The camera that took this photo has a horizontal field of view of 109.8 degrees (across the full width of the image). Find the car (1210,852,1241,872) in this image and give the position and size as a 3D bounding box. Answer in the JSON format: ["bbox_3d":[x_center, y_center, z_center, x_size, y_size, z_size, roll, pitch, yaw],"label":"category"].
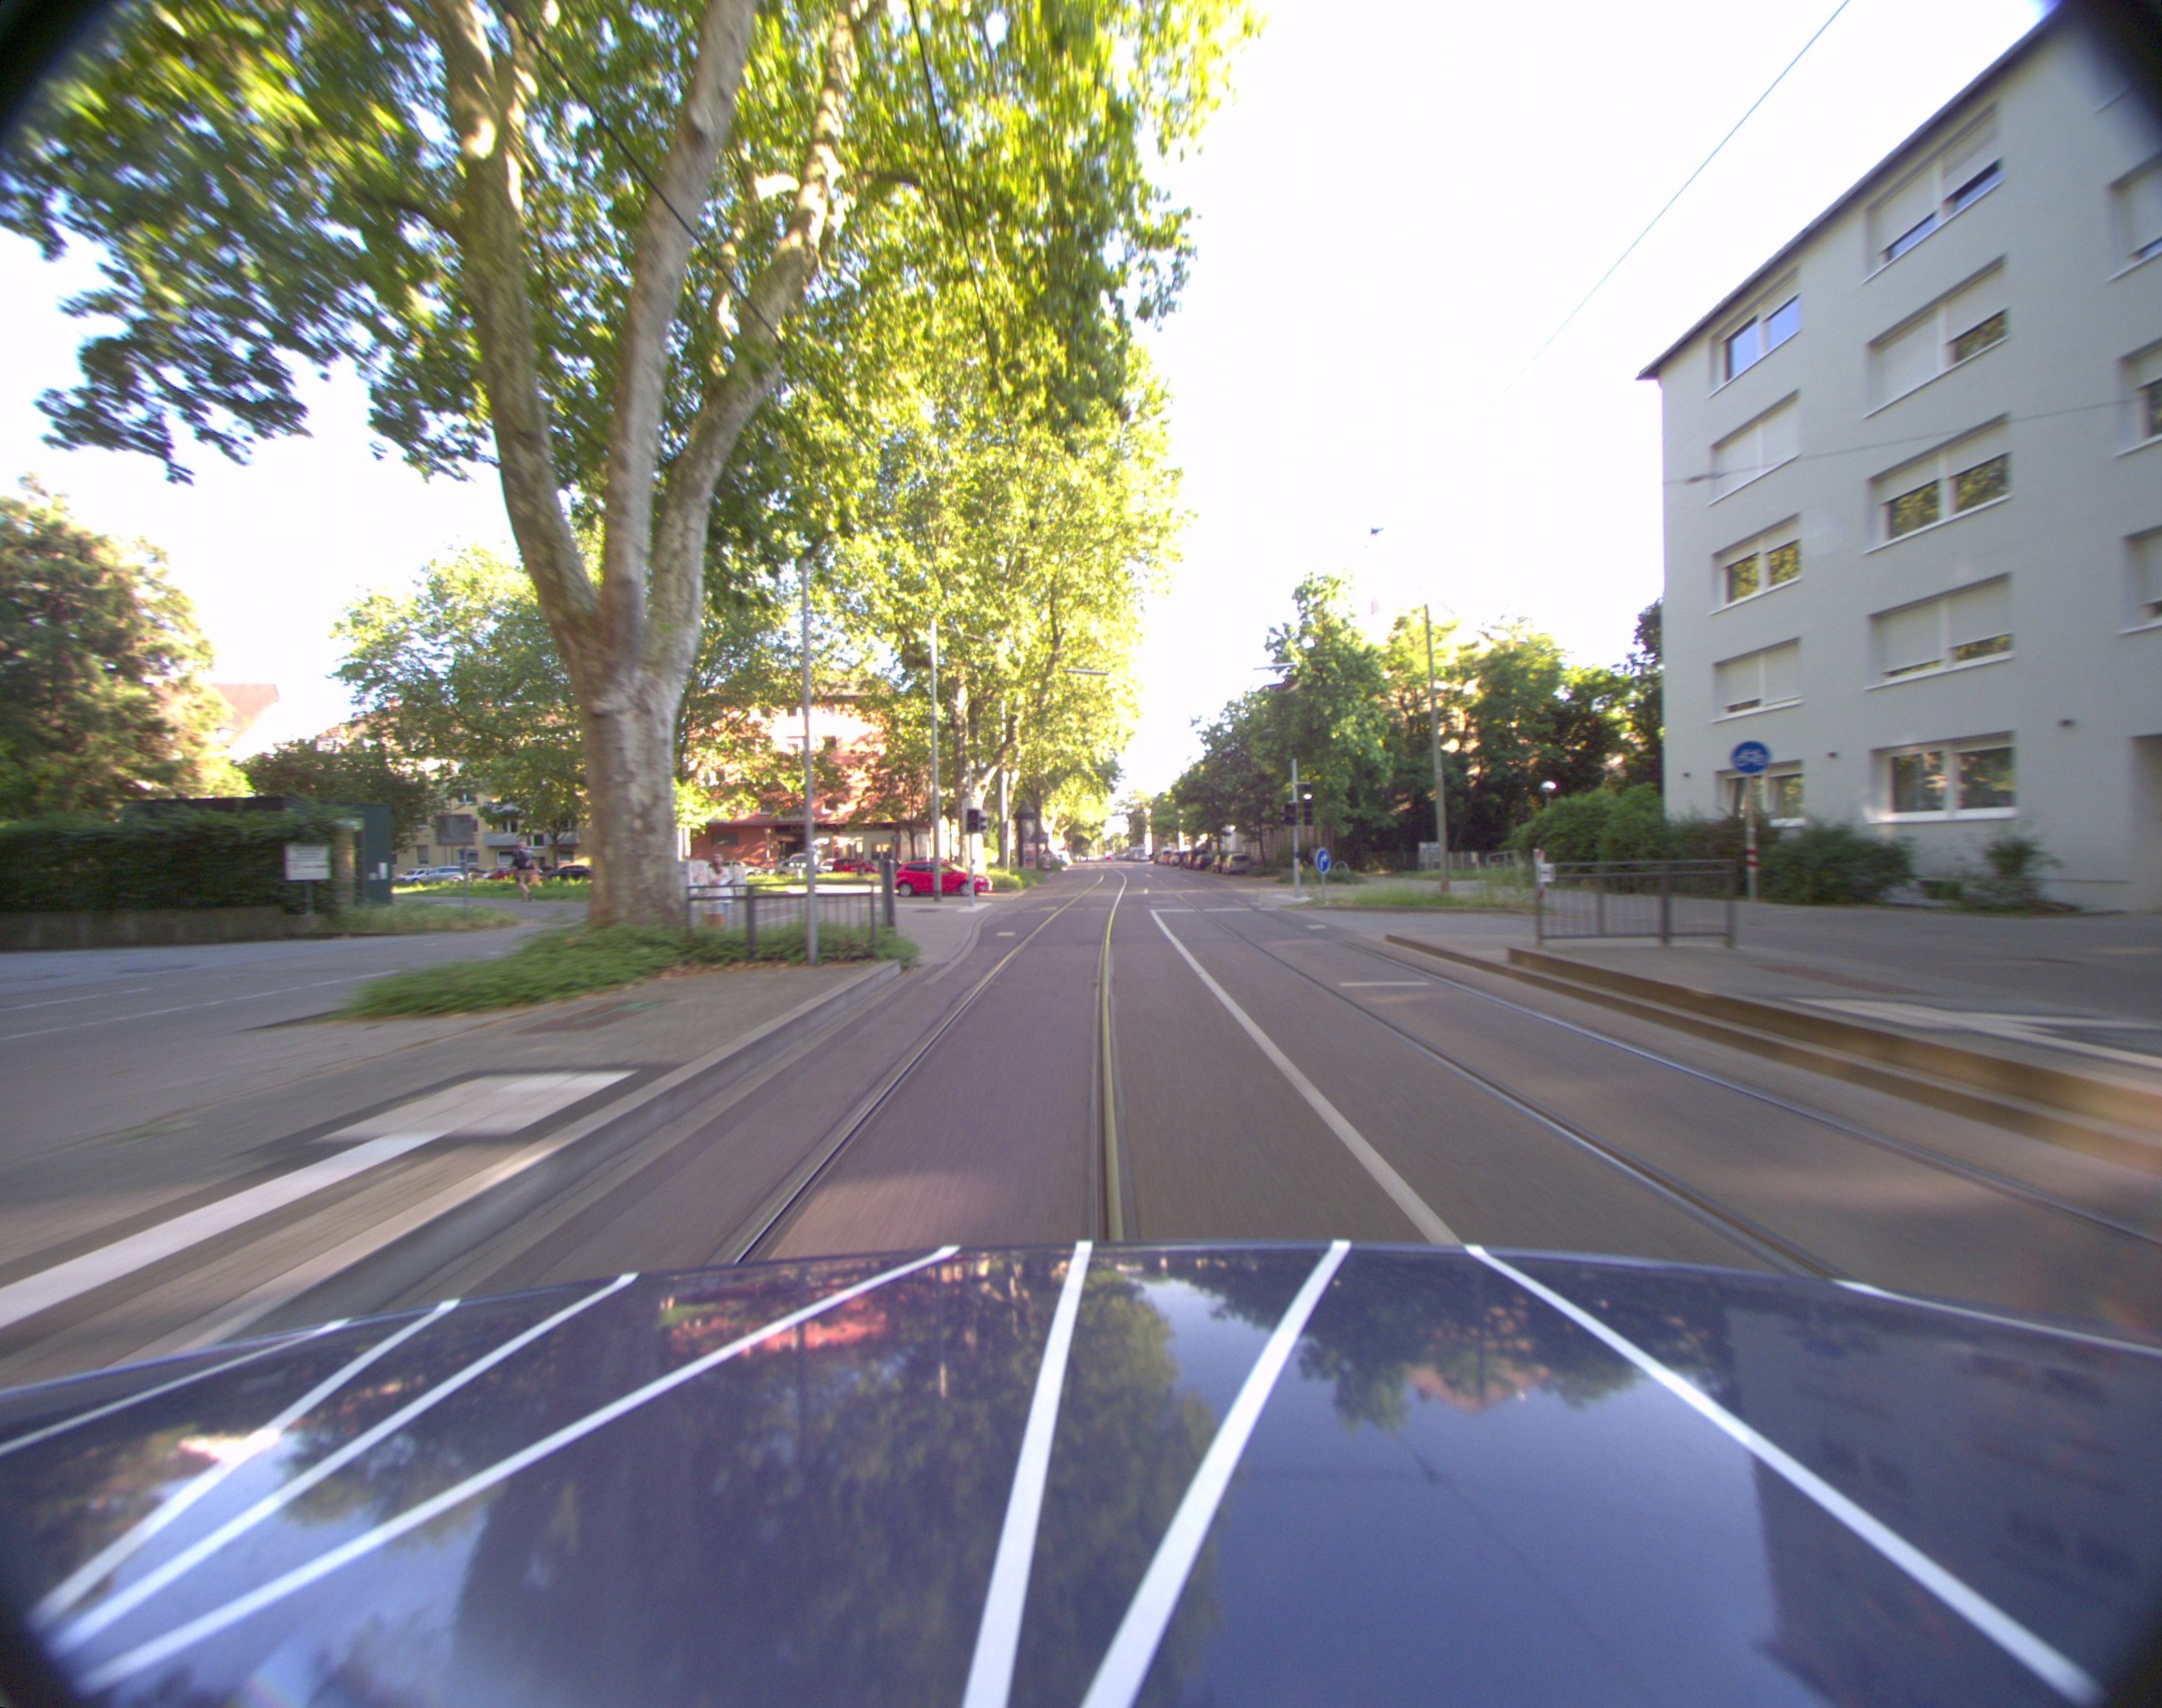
[{"bbox_3d":[11.227,0.621,59.227,1.662,1.437,3.949,-2,0,0],"label":"car"}]

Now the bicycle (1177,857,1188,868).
[{"bbox_3d":[9.234,0.749,69.206,0.642,0.981,2.101,-1,1,0],"label":"bicycle"}]

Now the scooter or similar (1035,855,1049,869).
[{"bbox_3d":[-3.482,0.732,67.371,1.211,1.233,0.569,-1,1,-1],"label":"scooter or similar"}]

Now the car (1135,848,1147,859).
[{"bbox_3d":[11.981,-0.111,151.508,1.928,2.034,4.941,-2,0,0],"label":"car"}]

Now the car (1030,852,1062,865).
[{"bbox_3d":[-4.660,0.585,101.318,4.211,1.609,1.878,-1,0,-2],"label":"car"}]

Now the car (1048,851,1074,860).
[{"bbox_3d":[-3.757,0.325,142.975,4.810,1.621,1.893,0,0,1],"label":"car"}]

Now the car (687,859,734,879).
[{"bbox_3d":[-30.787,1.226,63.294,1.794,1.565,4.576,-1,0,-3],"label":"car"}]

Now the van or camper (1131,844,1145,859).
[{"bbox_3d":[12.275,-0.633,164.386,2.423,2.960,5.991,-5,0,2],"label":"van or camper"}]

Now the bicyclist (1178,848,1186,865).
[{"bbox_3d":[9.232,0.225,69.388,0.642,1.447,0.837,-1,1,0],"label":"bicyclist"}]

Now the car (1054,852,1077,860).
[{"bbox_3d":[-3.158,0.424,158.359,4.611,1.485,1.893,0,0,4],"label":"car"}]

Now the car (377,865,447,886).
[{"bbox_3d":[-54.657,1.700,62.217,1.794,1.565,4.576,-1,0,-3],"label":"car"}]

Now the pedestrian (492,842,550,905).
[{"bbox_3d":[-17.169,0.573,23.312,0.985,1.853,1.015,2,0,-5],"label":"pedestrian"}]

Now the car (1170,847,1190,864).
[{"bbox_3d":[11.597,0.174,89.461,1.848,1.977,4.988,-1,0,2],"label":"car"}]

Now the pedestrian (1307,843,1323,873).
[{"bbox_3d":[14.843,0.248,48.205,0.743,1.836,0.728,-3,1,-1],"label":"pedestrian"}]

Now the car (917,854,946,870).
[{"bbox_3d":[-14.210,0.706,72.283,1.753,1.426,4.468,-1,0,1],"label":"car"}]

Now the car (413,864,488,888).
[{"bbox_3d":[-45.104,1.564,54.431,3.928,1.572,1.683,-1,0,-1],"label":"car"}]

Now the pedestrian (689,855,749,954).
[{"bbox_3d":[-6.284,0.852,13.227,0.654,1.659,0.738,-1,1,0],"label":"pedestrian"}]

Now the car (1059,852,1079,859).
[{"bbox_3d":[-2.930,0.381,187.810,4.611,1.631,1.893,0,0,4],"label":"car"}]

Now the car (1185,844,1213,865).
[{"bbox_3d":[11.546,0.070,74.777,1.999,2.002,4.834,-1,0,0],"label":"car"}]

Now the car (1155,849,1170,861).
[{"bbox_3d":[12.107,0.175,113.504,1.997,1.680,4.262,-1,0,3],"label":"car"}]

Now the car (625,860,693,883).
[{"bbox_3d":[-30.608,1.240,55.157,3.928,1.572,1.683,-1,0,-1],"label":"car"}]

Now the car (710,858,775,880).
[{"bbox_3d":[-24.719,1.092,55.531,3.928,1.572,1.683,-1,0,-1],"label":"car"}]

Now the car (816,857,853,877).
[{"bbox_3d":[-20.549,1.034,63.448,1.794,1.565,4.576,-1,0,-3],"label":"car"}]

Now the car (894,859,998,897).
[{"bbox_3d":[-5.495,0.972,31.205,3.893,1.415,1.649,-1,1,4],"label":"car"}]

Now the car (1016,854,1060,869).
[{"bbox_3d":[-4.577,0.758,81.037,4.411,1.534,1.818,-1,0,8],"label":"car"}]

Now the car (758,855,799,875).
[{"bbox_3d":[-25.049,0.901,63.104,1.794,1.565,4.576,-1,0,-3],"label":"car"}]

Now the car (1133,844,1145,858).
[{"bbox_3d":[12.002,-0.622,157.480,1.927,2.730,4.546,-5,0,1],"label":"car"}]

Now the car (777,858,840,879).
[{"bbox_3d":[-19.906,1.035,55.578,3.928,1.444,1.683,-1,0,-1],"label":"car"}]

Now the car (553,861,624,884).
[{"bbox_3d":[-35.439,1.326,54.709,3.928,1.572,1.683,-1,0,-1],"label":"car"}]

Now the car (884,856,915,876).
[{"bbox_3d":[-15.020,0.969,63.208,1.794,1.565,4.576,-1,0,-5],"label":"car"}]

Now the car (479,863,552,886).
[{"bbox_3d":[-40.665,1.455,54.687,3.928,1.572,1.683,-1,0,-1],"label":"car"}]

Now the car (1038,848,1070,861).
[{"bbox_3d":[-4.247,0.111,119.215,4.859,2.002,2.194,0,0,-2],"label":"car"}]

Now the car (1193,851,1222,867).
[{"bbox_3d":[11.584,0.435,69.883,1.858,1.450,4.269,-1,0,0],"label":"car"}]

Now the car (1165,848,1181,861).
[{"bbox_3d":[12.004,0.050,99.294,1.689,1.530,3.707,-1,0,0],"label":"car"}]

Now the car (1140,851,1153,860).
[{"bbox_3d":[12.039,0.284,140.886,1.776,1.484,4.940,-2,0,-2],"label":"car"}]

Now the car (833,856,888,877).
[{"bbox_3d":[-15.993,0.889,55.259,3.547,1.444,1.683,-1,0,-1],"label":"car"}]

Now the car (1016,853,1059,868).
[{"bbox_3d":[-4.731,0.747,83.324,4.413,1.534,1.952,-1,0,3],"label":"car"}]

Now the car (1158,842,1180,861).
[{"bbox_3d":[12.099,-0.344,104.660,2.310,2.493,5.343,-1,0,-1],"label":"car"}]

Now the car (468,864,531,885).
[{"bbox_3d":[-47.647,1.651,62.359,1.794,1.565,4.576,-1,0,-3],"label":"car"}]

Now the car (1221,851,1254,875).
[{"bbox_3d":[11.152,0.605,54.424,1.703,1.541,4.537,-2,0,4],"label":"car"}]

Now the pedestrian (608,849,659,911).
[{"bbox_3d":[-13.282,0.756,22.569,0.997,1.800,0.864,-1,1,-5],"label":"pedestrian"}]

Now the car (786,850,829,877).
[{"bbox_3d":[-22.731,0.781,63.308,1.917,2.171,5.083,-1,0,-2],"label":"car"}]
